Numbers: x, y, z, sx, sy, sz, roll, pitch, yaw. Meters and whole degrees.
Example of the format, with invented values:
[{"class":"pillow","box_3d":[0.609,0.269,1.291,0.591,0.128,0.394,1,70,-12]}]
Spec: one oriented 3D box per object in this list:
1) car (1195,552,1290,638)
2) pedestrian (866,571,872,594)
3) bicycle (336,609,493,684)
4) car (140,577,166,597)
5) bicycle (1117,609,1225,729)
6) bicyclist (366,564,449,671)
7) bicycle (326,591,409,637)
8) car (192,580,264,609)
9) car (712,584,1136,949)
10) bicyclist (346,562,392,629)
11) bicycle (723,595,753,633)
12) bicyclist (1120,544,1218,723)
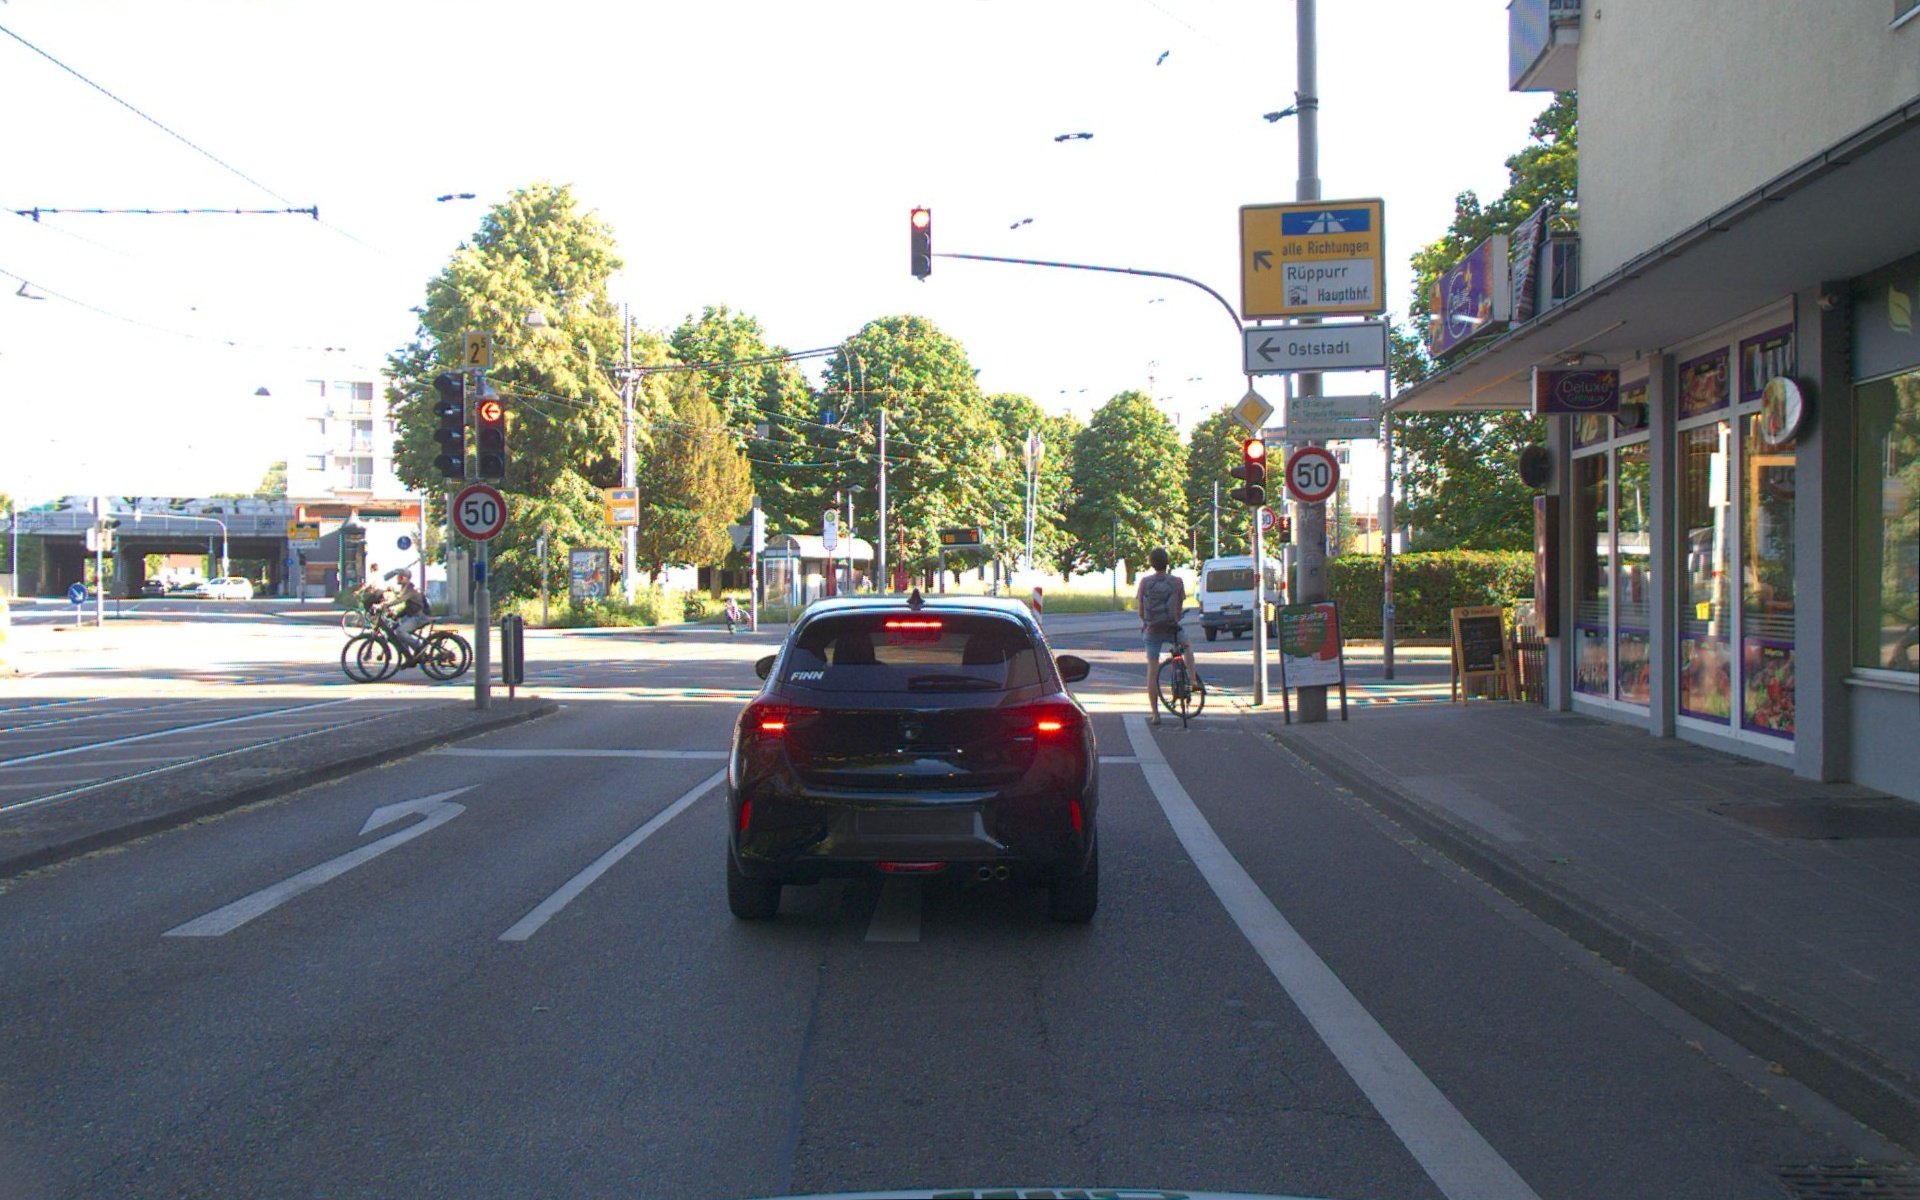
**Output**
[{"class":"car","box_3d":[8.013,-0.155,46.585,2.020,2.288,4.890,0,1,17]},{"class":"pedestrian","box_3d":[-5.883,-1.116,106.940,0.404,1.437,0.436,2,0,-3]},{"class":"bicycle","box_3d":[-8.154,0.680,24.720,2.162,1.051,0.828,-1,0,-24]},{"class":"car","box_3d":[-77.084,-1.214,157.914,2.186,1.855,4.112,-1,1,-26]},{"class":"bicycle","box_3d":[2.251,0.712,17.953,0.842,1.173,2.171,-1,1,-1]},{"class":"bicyclist","box_3d":[-8.226,0.247,24.628,1.098,1.547,0.915,-1,0,-24]},{"class":"bicycle","box_3d":[-14.515,0.333,40.539,2.012,1.113,0.592,0,0,21]},{"class":"car","box_3d":[-48.908,-0.386,110.620,1.700,1.836,4.179,0,1,31]},{"class":"car","box_3d":[-0.164,0.656,8.755,1.692,1.454,4.186,1,0,-1]},{"class":"bicyclist","box_3d":[-14.478,-0.105,40.532,0.843,1.623,0.649,0,0,21]},{"class":"bicycle","box_3d":[-6.216,0.381,46.380,0.593,1.049,1.982,0,1,-1]},{"class":"bicyclist","box_3d":[2.254,0.348,17.911,0.922,1.883,0.864,-1,0,-1]}]
